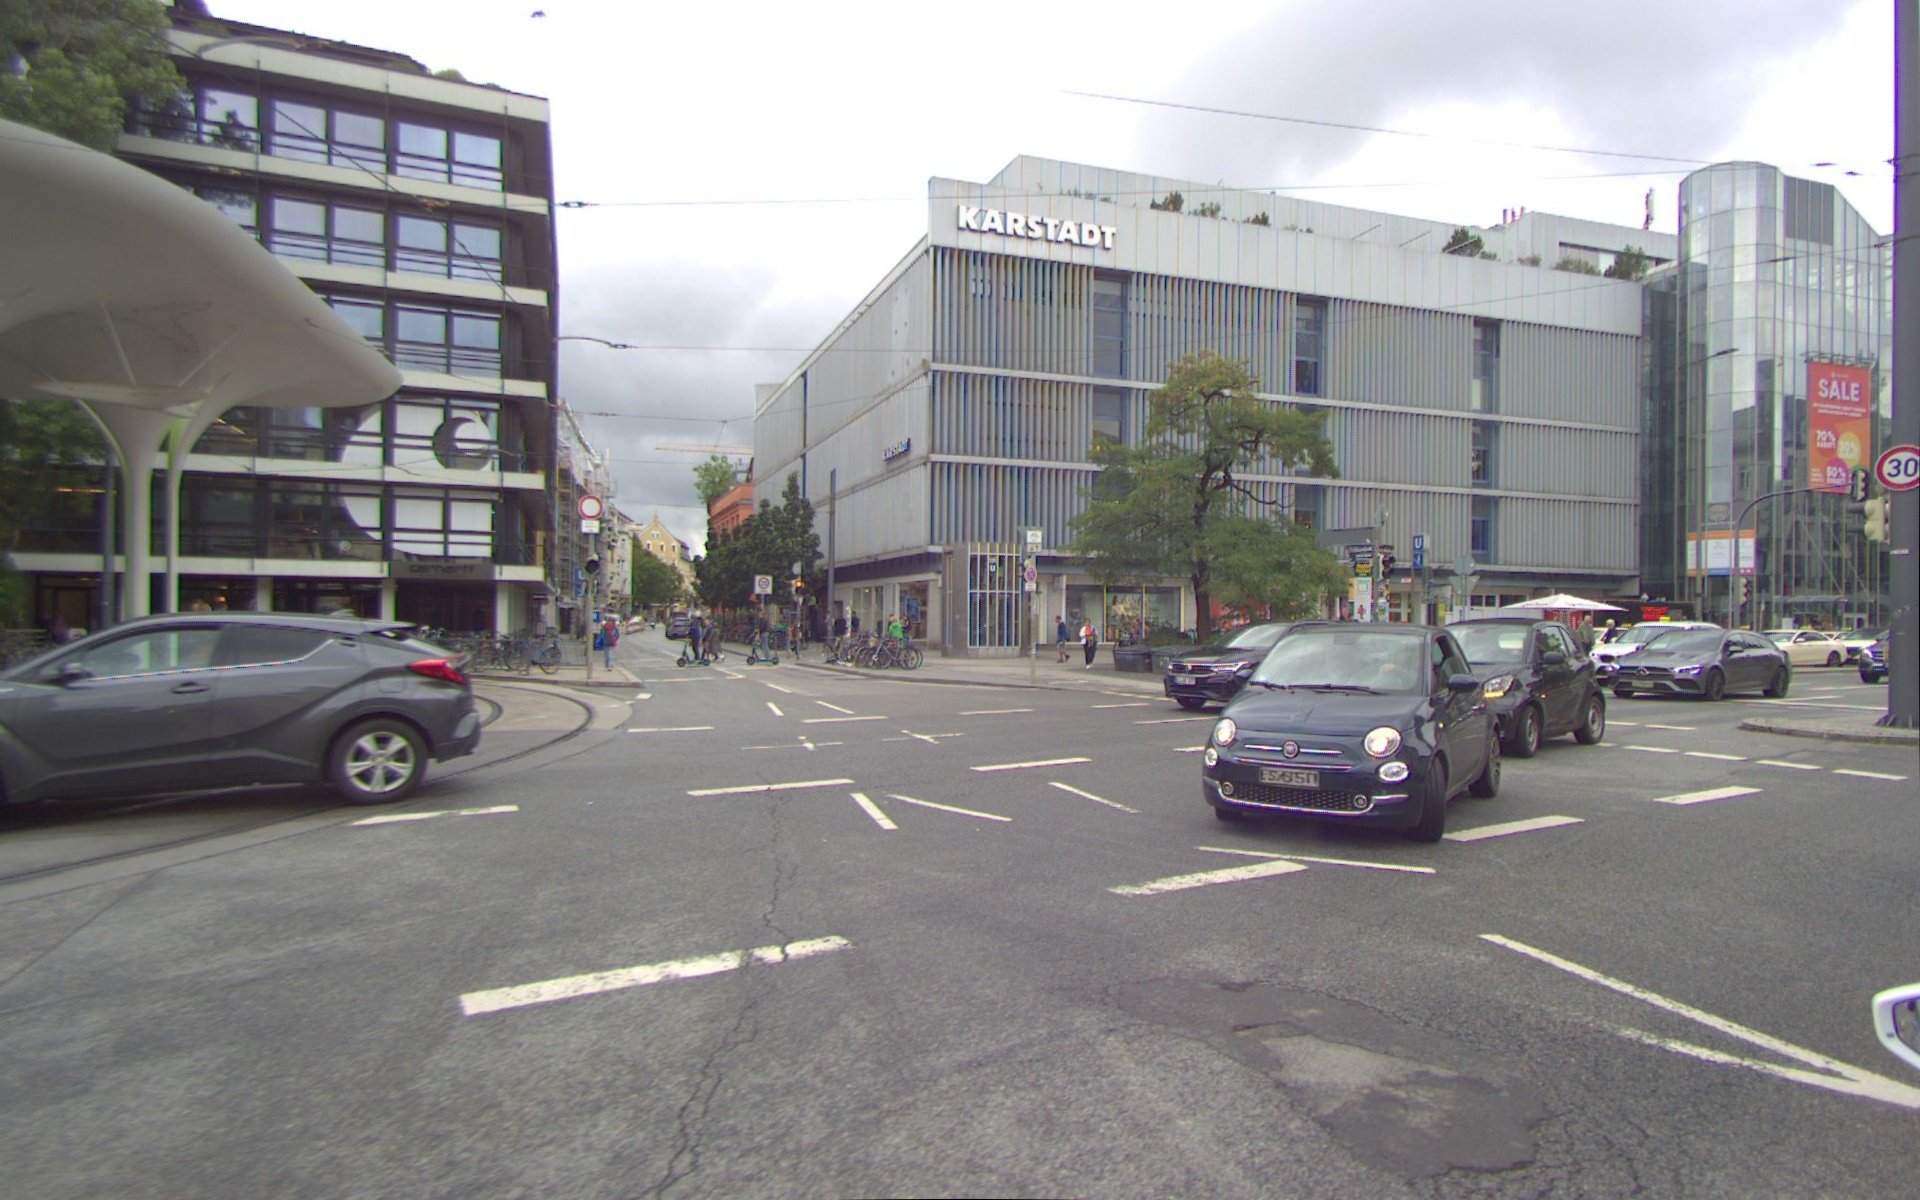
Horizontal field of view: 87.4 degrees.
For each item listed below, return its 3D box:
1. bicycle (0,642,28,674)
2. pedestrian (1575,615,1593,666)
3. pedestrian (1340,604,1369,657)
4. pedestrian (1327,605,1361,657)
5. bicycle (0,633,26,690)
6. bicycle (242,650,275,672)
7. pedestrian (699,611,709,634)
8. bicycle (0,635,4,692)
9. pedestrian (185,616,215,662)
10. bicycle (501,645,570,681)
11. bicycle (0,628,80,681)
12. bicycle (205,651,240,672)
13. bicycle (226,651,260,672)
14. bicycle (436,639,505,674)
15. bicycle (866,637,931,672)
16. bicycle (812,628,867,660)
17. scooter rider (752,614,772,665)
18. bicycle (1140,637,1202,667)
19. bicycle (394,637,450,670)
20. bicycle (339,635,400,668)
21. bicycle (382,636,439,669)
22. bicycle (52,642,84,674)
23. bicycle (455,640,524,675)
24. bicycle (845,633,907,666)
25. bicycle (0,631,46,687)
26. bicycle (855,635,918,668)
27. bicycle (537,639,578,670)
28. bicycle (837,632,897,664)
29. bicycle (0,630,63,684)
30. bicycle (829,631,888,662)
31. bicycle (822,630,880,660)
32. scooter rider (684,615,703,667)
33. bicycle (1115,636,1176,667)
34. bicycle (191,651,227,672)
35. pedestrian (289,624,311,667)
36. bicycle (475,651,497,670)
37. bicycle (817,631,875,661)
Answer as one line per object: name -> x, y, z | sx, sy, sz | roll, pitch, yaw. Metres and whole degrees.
bicycle -> -29.591, 1.804, 31.308 | 0.445, 0.939, 1.812 | 1, -1, -32
pedestrian -> 21.589, 1.395, 34.766 | 0.348, 1.783, 0.447 | 0, -1, 6
pedestrian -> 13.369, 1.027, 34.069 | 0.739, 1.797, 0.770 | 0, -1, 37
pedestrian -> 12.691, 1.023, 33.227 | 0.740, 1.676, 0.769 | 0, -1, -19
bicycle -> -20.278, 1.240, 20.148 | 2.149, 1.133, 0.652 | 0, -1, -20
bicycle -> -23.480, 2.033, 33.637 | 0.357, 0.641, 1.630 | 0, -1, -15
pedestrian -> -22.419, 1.994, 88.034 | 0.728, 2.040, 0.870 | 1, -1, -23
bicycle -> -20.074, 1.255, 19.465 | 2.149, 1.133, 0.652 | 0, -1, -20
pedestrian -> -26.732, 1.373, 35.325 | 0.663, 1.613, 0.592 | 1, -1, -20
bicycle -> -11.544, 1.710, 27.351 | 0.448, 0.952, 1.723 | 0, -2, 39
bicycle -> -20.909, 1.195, 22.145 | 2.149, 1.133, 0.652 | 0, -1, -20
bicycle -> -24.352, 2.019, 33.183 | 0.357, 0.641, 1.630 | 0, -1, -15
bicycle -> -23.817, 2.029, 33.372 | 0.357, 0.641, 1.630 | 0, -1, -15
bicycle -> -13.861, 1.595, 28.470 | 0.448, 0.952, 1.724 | 0, -2, 38
bicycle -> -1.891, 1.682, 31.015 | 1.963, 1.011, 0.524 | 3, -2, -30
bicycle -> -4.332, 1.592, 36.150 | 1.871, 1.126, 0.582 | 3, -2, -30
scooter rider -> -7.343, 1.465, 37.182 | 0.657, 1.859, 0.618 | 0, -1, -18
bicycle -> 8.924, 2.171, 42.637 | 1.043, 1.172, 3.493 | 1, -1, -17
bicycle -> -15.894, 1.568, 29.712 | 0.446, 0.952, 1.732 | 1, -2, 12
bicycle -> -17.591, 1.522, 29.961 | 0.446, 0.952, 1.732 | 1, -2, 14
bicycle -> -16.374, 1.552, 29.951 | 0.446, 0.952, 1.732 | 1, -2, 12
bicycle -> -28.335, 1.826, 31.935 | 0.445, 0.939, 1.812 | 1, -1, -32
bicycle -> -13.308, 1.609, 28.437 | 0.448, 0.952, 1.723 | 0, -2, 40
bicycle -> -2.755, 1.630, 33.037 | 1.963, 1.011, 0.524 | 3, -2, -30
bicycle -> -20.522, 1.223, 20.868 | 2.149, 1.133, 0.652 | 0, -1, -20
bicycle -> -2.335, 1.655, 32.097 | 1.963, 1.011, 0.524 | 3, -2, -30
bicycle -> -14.565, 1.966, 36.411 | 0.421, 1.088, 1.635 | 0, -1, 18
bicycle -> -3.110, 1.611, 33.732 | 1.963, 1.011, 0.524 | 3, -2, -30
bicycle -> -20.724, 1.209, 21.509 | 2.149, 1.133, 0.652 | 0, -1, -20
bicycle -> -3.486, 1.590, 34.515 | 1.963, 1.011, 0.524 | 3, -2, -30
bicycle -> -3.787, 1.575, 35.029 | 1.963, 1.011, 0.524 | 3, -2, -30
scooter rider -> -9.691, 1.470, 36.510 | 0.601, 1.863, 0.552 | 0, -1, -25
bicycle -> 7.768, 2.148, 42.250 | 1.043, 1.172, 3.493 | 1, -1, -17
bicycle -> -24.704, 2.012, 33.053 | 0.357, 0.641, 1.630 | 0, -1, -15
pedestrian -> -24.156, 1.661, 36.781 | 0.589, 1.555, 0.503 | 1, -1, -26
bicycle -> -17.003, 2.157, 36.016 | 0.422, 0.641, 1.630 | 0, -1, -15
bicycle -> -4.033, 1.639, 35.609 | 1.963, 1.011, 0.524 | 3, -2, -30
